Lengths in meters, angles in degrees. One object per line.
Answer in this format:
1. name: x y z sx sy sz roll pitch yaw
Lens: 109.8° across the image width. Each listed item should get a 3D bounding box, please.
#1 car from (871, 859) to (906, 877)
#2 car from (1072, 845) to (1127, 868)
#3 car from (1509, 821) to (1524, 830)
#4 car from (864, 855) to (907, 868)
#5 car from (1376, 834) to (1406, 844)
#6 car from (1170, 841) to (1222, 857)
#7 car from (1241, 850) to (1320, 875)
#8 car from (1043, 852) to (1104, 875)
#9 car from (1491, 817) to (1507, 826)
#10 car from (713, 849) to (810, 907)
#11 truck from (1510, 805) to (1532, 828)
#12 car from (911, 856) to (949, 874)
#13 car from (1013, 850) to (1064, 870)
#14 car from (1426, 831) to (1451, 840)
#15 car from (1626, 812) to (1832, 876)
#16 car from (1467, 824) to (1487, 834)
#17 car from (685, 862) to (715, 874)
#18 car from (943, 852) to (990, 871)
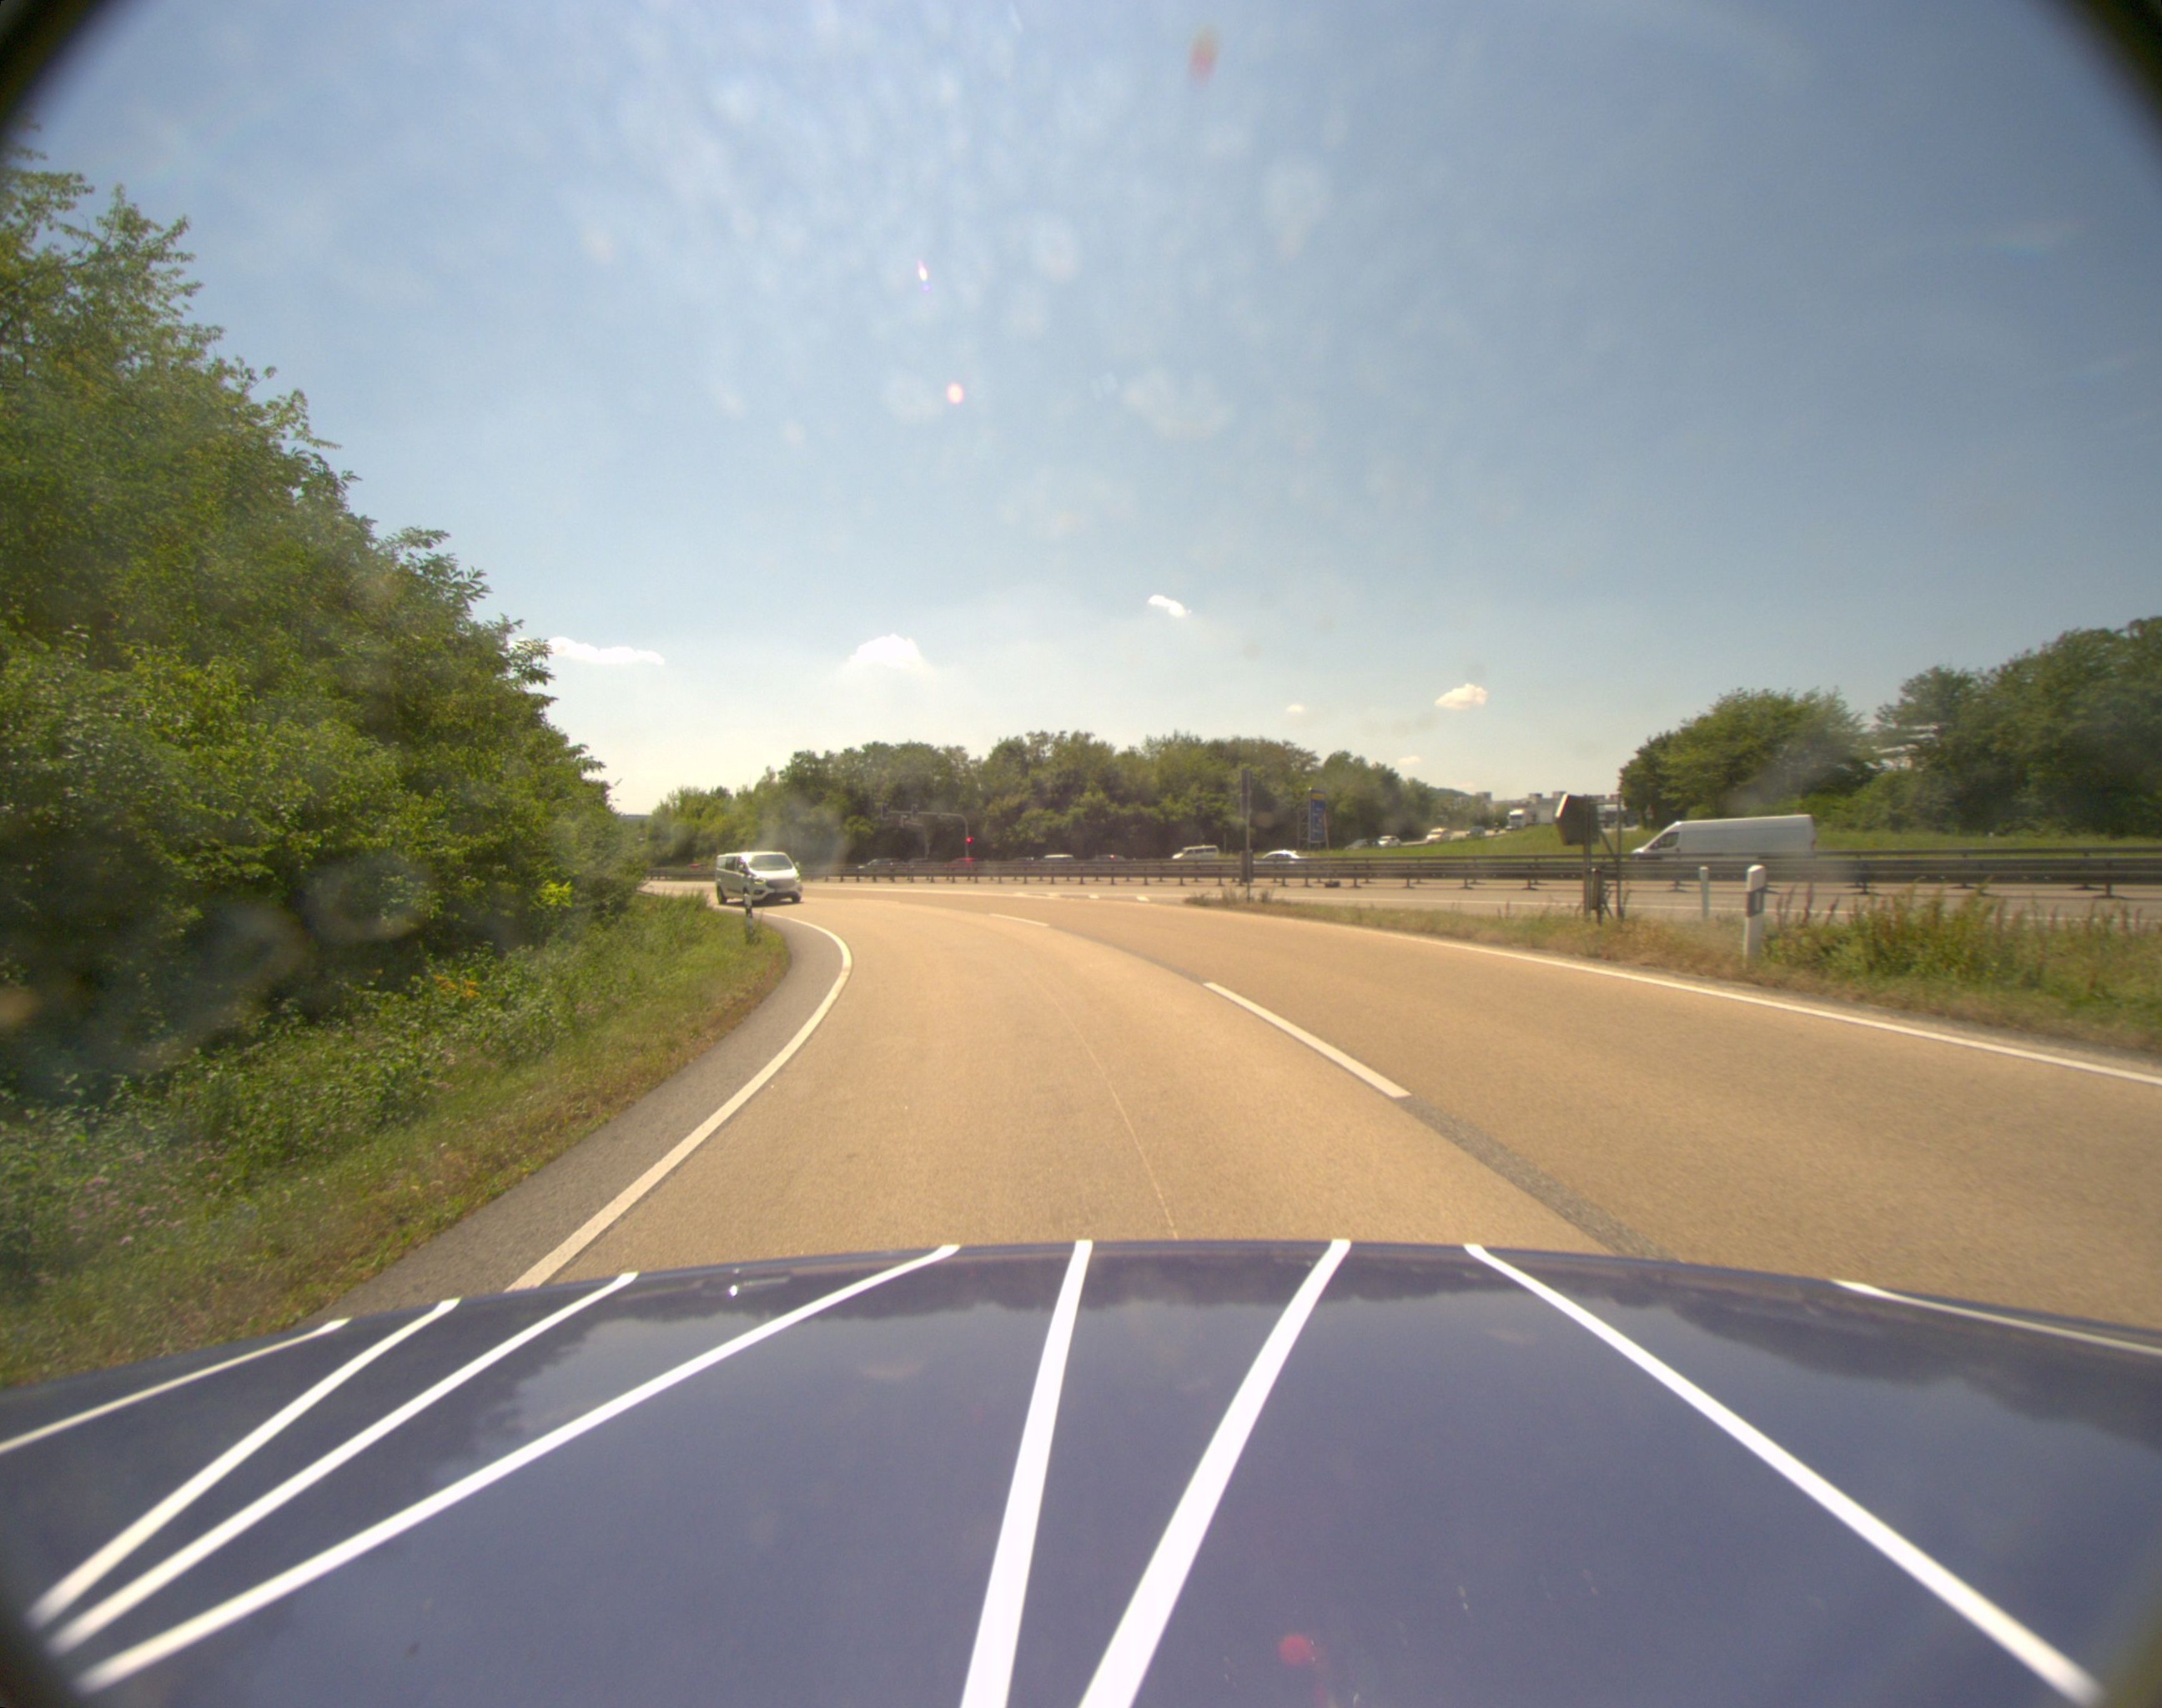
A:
1. car: -14.209 1.041 56.111 2.720 1.229 1.159 -2 1 42
2. car: 1.272 0.177 52.521 3.657 1.441 1.490 -2 1 42
3. car: 75.251 -4.969 131.229 1.595 1.424 3.577 -1 0 41
4. car: -20.056 0.779 77.900 3.943 1.215 1.709 -2 1 -1
5. car: 38.666 -1.868 94.781 3.882 1.159 1.529 -2 0 -34
6. car: 12.372 -0.533 81.684 5.115 1.631 2.015 -2 0 -14
7. car: 12.511 0.550 47.818 4.523 1.476 1.707 -2 1 41
8. car: -0.532 0.623 49.230 3.911 1.340 1.522 -2 1 42
9. car: 68.861 -5.377 125.269 1.595 1.424 3.577 -1 0 41
10. car: -12.528 0.879 29.611 2.067 2.002 5.028 -3 1 -39
11. truck: 85.028 -7.267 146.756 2.824 4.135 4.007 -1 1 41
12. car: -11.924 0.854 59.784 3.008 1.341 1.347 -2 1 42
13. car: -3.186 0.451 56.665 3.561 1.386 1.657 -2 1 42
14. car: 48.437 -2.457 102.975 4.084 1.159 1.528 -2 0 -40
15. car: 28.082 -0.354 33.194 6.678 2.523 2.168 -2 1 44
16. car: 60.263 -3.746 115.684 3.758 1.424 1.595 -1 0 -44
17. car: -42.530 1.542 84.878 3.360 1.215 1.712 -1 1 40
18. car: -9.345 0.636 61.929 3.694 1.441 1.570 -2 1 38
